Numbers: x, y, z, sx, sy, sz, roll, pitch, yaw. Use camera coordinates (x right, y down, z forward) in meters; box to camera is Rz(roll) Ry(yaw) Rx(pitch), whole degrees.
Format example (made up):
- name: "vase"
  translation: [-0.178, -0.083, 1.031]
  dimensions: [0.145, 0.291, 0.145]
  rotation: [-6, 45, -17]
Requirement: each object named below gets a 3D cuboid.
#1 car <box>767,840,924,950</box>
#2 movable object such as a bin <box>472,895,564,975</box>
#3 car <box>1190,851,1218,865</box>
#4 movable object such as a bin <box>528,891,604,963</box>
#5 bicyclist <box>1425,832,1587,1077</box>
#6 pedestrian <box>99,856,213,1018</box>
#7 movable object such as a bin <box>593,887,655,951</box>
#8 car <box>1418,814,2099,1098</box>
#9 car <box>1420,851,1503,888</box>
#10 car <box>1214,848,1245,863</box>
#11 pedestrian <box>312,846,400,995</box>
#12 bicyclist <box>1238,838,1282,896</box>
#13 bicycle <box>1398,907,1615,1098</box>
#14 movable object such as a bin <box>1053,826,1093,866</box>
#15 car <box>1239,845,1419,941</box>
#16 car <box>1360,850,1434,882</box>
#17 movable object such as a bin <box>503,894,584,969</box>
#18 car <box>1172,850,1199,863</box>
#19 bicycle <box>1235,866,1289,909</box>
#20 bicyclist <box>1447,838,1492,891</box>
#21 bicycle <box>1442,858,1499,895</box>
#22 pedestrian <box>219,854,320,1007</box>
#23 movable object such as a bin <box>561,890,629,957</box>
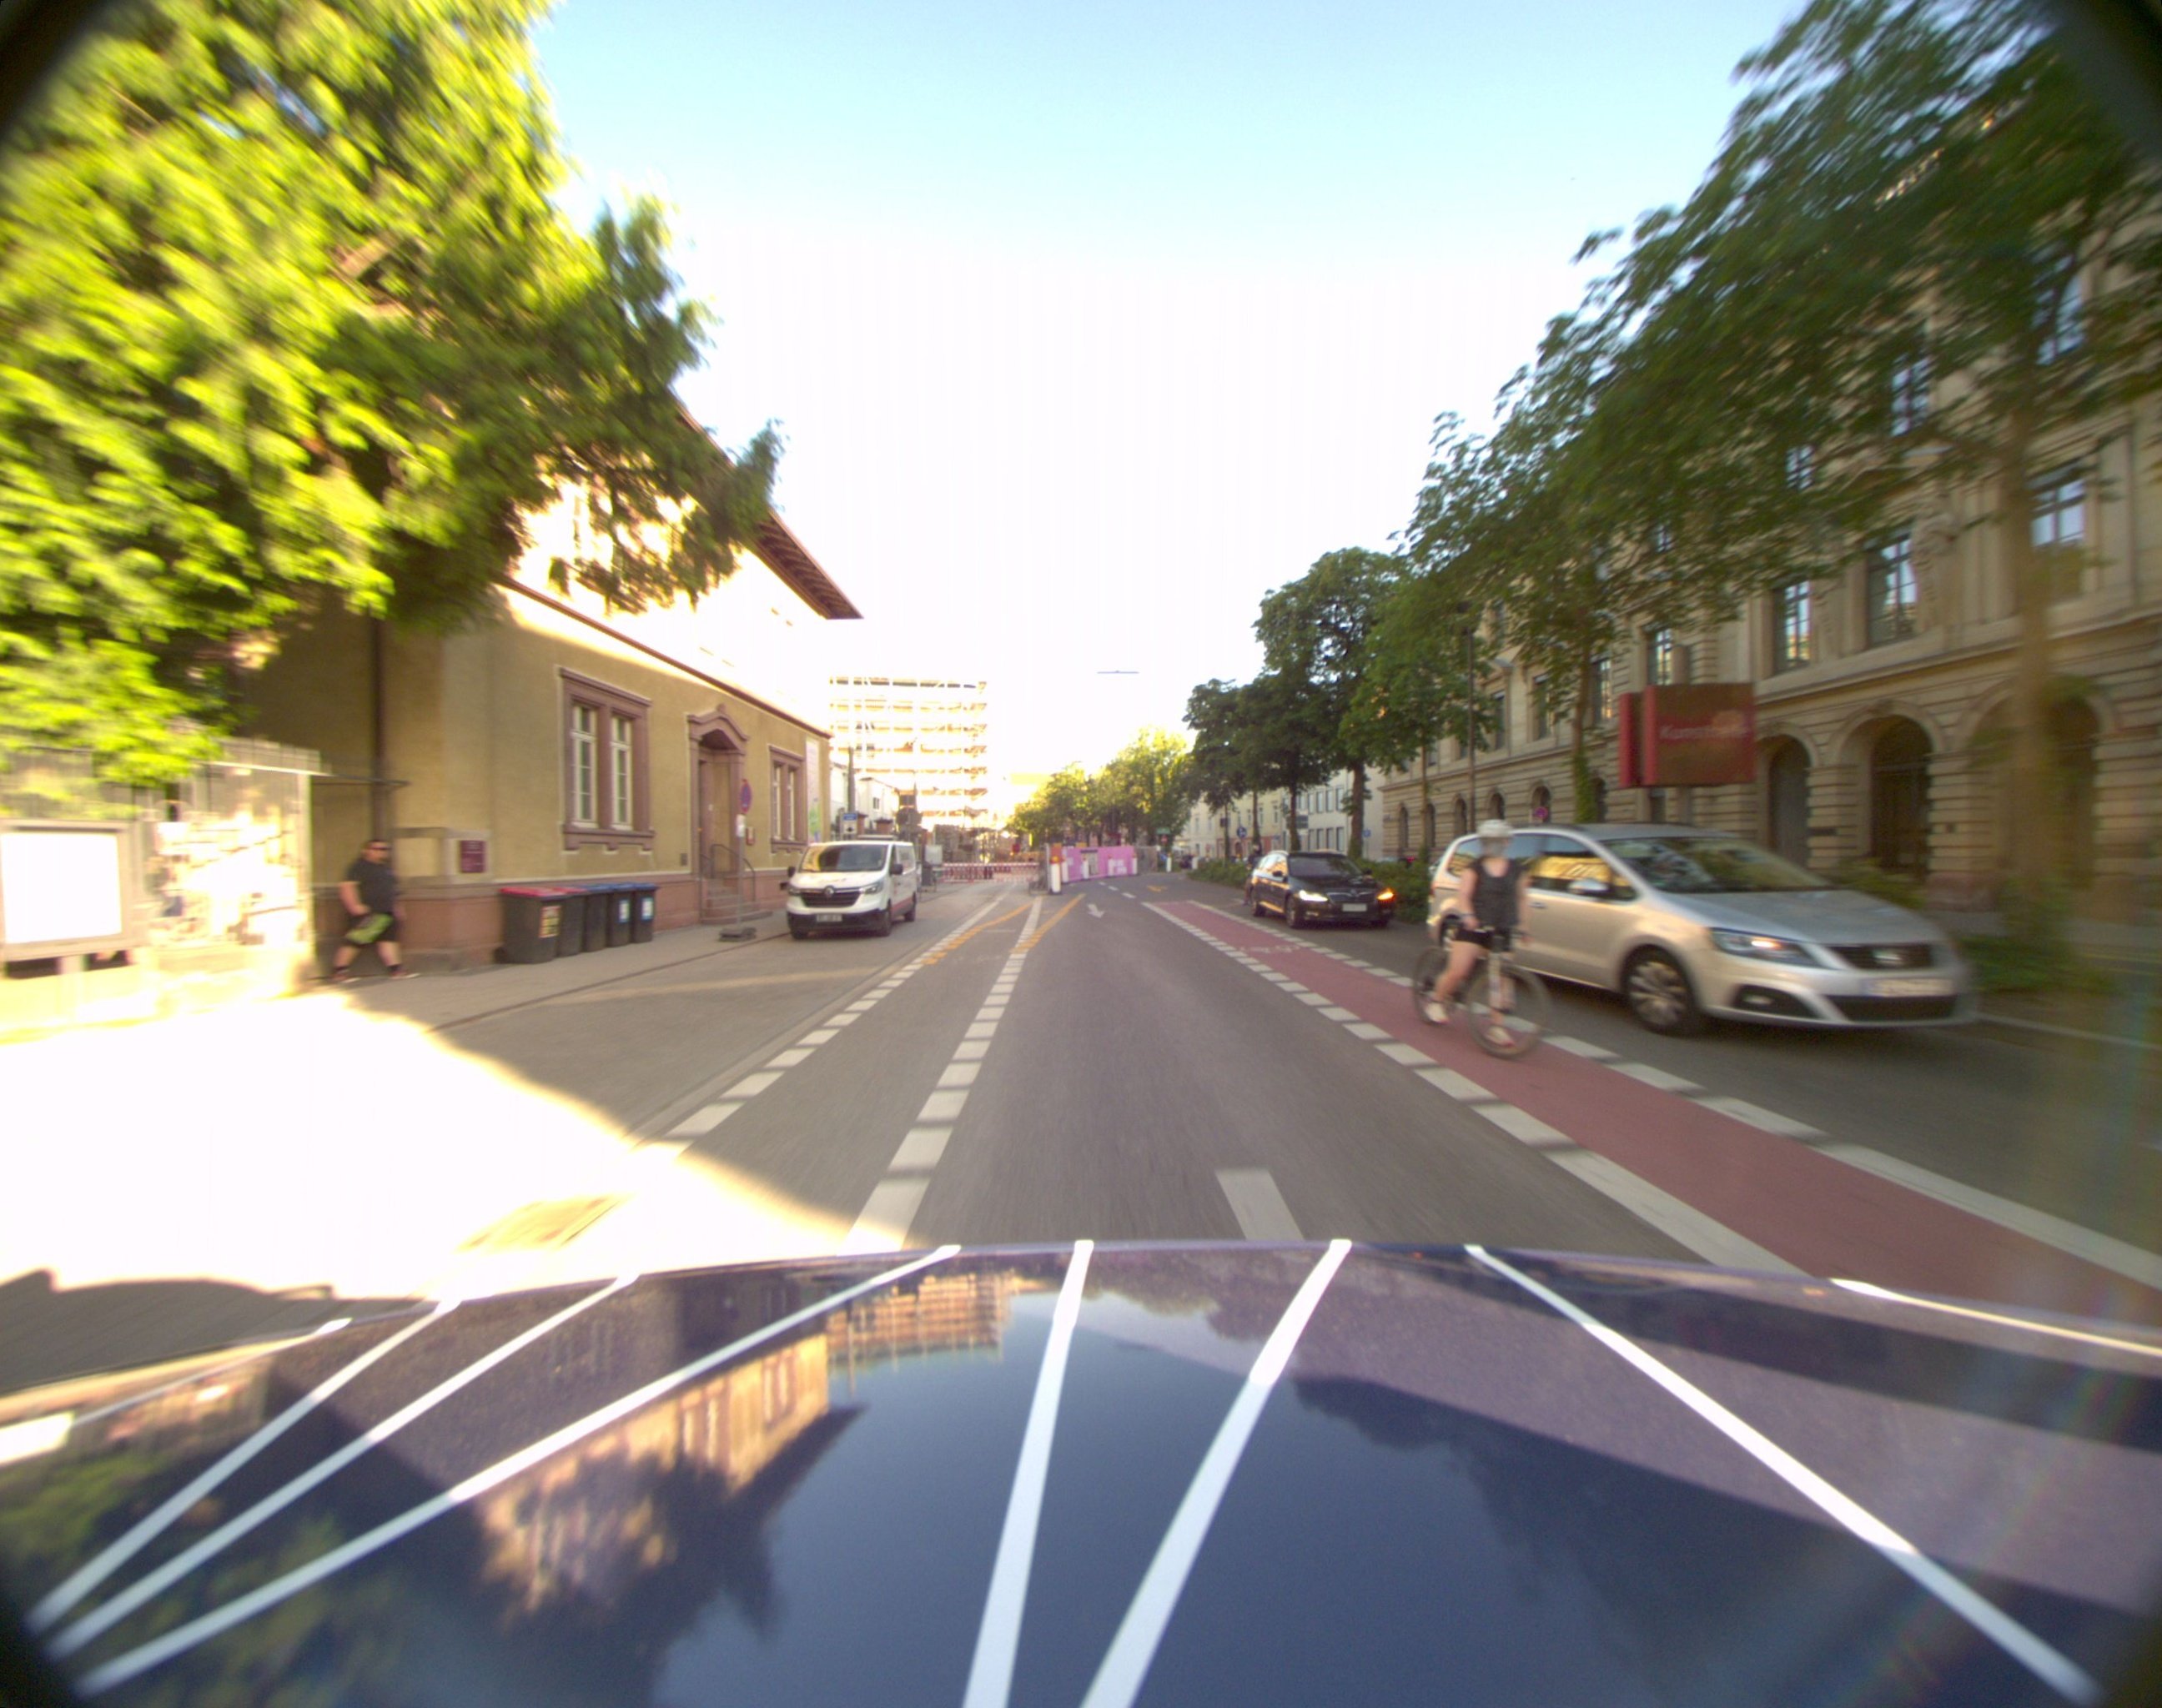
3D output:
- name: "car"
  translation: [-4.836, 0.705, 16.564]
  dimensions: [2.020, 1.934, 5.478]
  rotation: [-2, 1, -4]
- name: "movable object such as a bin"
  translation: [-7.963, 1.130, 10.769]
  dimensions: [0.870, 1.067, 0.571]
  rotation: [0, 1, 2]
- name: "car"
  translation: [14.136, 0.455, 87.530]
  dimensions: [1.773, 1.479, 4.189]
  rotation: [-2, 0, -13]
- name: "movable object such as a bin"
  translation: [-8.119, 1.141, 11.997]
  dimensions: [0.794, 1.067, 0.571]
  rotation: [0, 1, 2]
- name: "bicyclist"
  translation: [3.061, 0.676, 5.554]
  dimensions: [0.674, 1.643, 0.887]
  rotation: [-1, 1, 1]
- name: "pedestrian"
  translation: [-10.174, 0.885, 8.377]
  dimensions: [0.508, 1.720, 0.590]
  rotation: [0, 1, -2]
- name: "movable object such as a bin"
  translation: [-8.033, 1.140, 13.376]
  dimensions: [0.731, 1.067, 0.562]
  rotation: [0, 1, 2]
- name: "car"
  translation: [5.250, 0.615, 7.063]
  dimensions: [1.996, 1.739, 4.746]
  rotation: [0, 0, -2]
- name: "car"
  translation: [16.387, 0.635, 32.922]
  dimensions: [1.672, 1.499, 3.846]
  rotation: [0, 0, 0]
- name: "car"
  translation: [15.372, 0.124, 78.802]
  dimensions: [1.807, 1.562, 4.151]
  rotation: [0, 0, -10]
- name: "pedestrian"
  translation: [-8.792, 0.774, 9.242]
  dimensions: [0.642, 1.707, 0.700]
  rotation: [-1, -1, -33]
- name: "bicyclist"
  translation: [4.920, 0.353, 20.944]
  dimensions: [0.870, 1.514, 1.231]
  rotation: [-3, 1, 0]
- name: "bicycle"
  translation: [3.069, 1.005, 5.700]
  dimensions: [0.670, 1.066, 1.753]
  rotation: [-1, 1, 2]
- name: "movable object such as a bin"
  translation: [-0.744, -0.643, 63.525]
  dimensions: [3.170, 3.281, 4.384]
  rotation: [0, 0, -3]
- name: "car"
  translation: [4.816, 0.659, 15.596]
  dimensions: [1.999, 1.648, 4.735]
  rotation: [-1, 0, -2]
- name: "car"
  translation: [16.191, 0.575, 39.235]
  dimensions: [1.884, 1.499, 4.643]
  rotation: [1, 0, 0]
- name: "movable object such as a bin"
  translation: [-8.039, 1.149, 11.391]
  dimensions: [0.794, 1.067, 0.571]
  rotation: [0, 1, 2]
- name: "car"
  translation: [12.713, 0.320, 92.775]
  dimensions: [1.820, 1.562, 4.384]
  rotation: [0, 0, -13]
- name: "bicycle"
  translation: [4.924, 0.886, 20.877]
  dimensions: [0.872, 1.036, 2.453]
  rotation: [-2, 1, 0]
- name: "bicyclist"
  translation: [13.980, 0.371, 27.401]
  dimensions: [0.883, 1.824, 1.286]
  rotation: [2, 1, 1]
- name: "bicycle"
  translation: [13.955, 0.782, 27.314]
  dimensions: [0.883, 1.187, 2.175]
  rotation: [2, 1, 1]
- name: "pedestrian"
  translation: [-9.438, 0.863, 8.858]
  dimensions: [0.508, 1.720, 0.590]
  rotation: [0, 1, -1]
- name: "movable object such as a bin"
  translation: [-8.104, 1.145, 12.686]
  dimensions: [0.794, 1.067, 0.535]
  rotation: [0, 1, 2]
